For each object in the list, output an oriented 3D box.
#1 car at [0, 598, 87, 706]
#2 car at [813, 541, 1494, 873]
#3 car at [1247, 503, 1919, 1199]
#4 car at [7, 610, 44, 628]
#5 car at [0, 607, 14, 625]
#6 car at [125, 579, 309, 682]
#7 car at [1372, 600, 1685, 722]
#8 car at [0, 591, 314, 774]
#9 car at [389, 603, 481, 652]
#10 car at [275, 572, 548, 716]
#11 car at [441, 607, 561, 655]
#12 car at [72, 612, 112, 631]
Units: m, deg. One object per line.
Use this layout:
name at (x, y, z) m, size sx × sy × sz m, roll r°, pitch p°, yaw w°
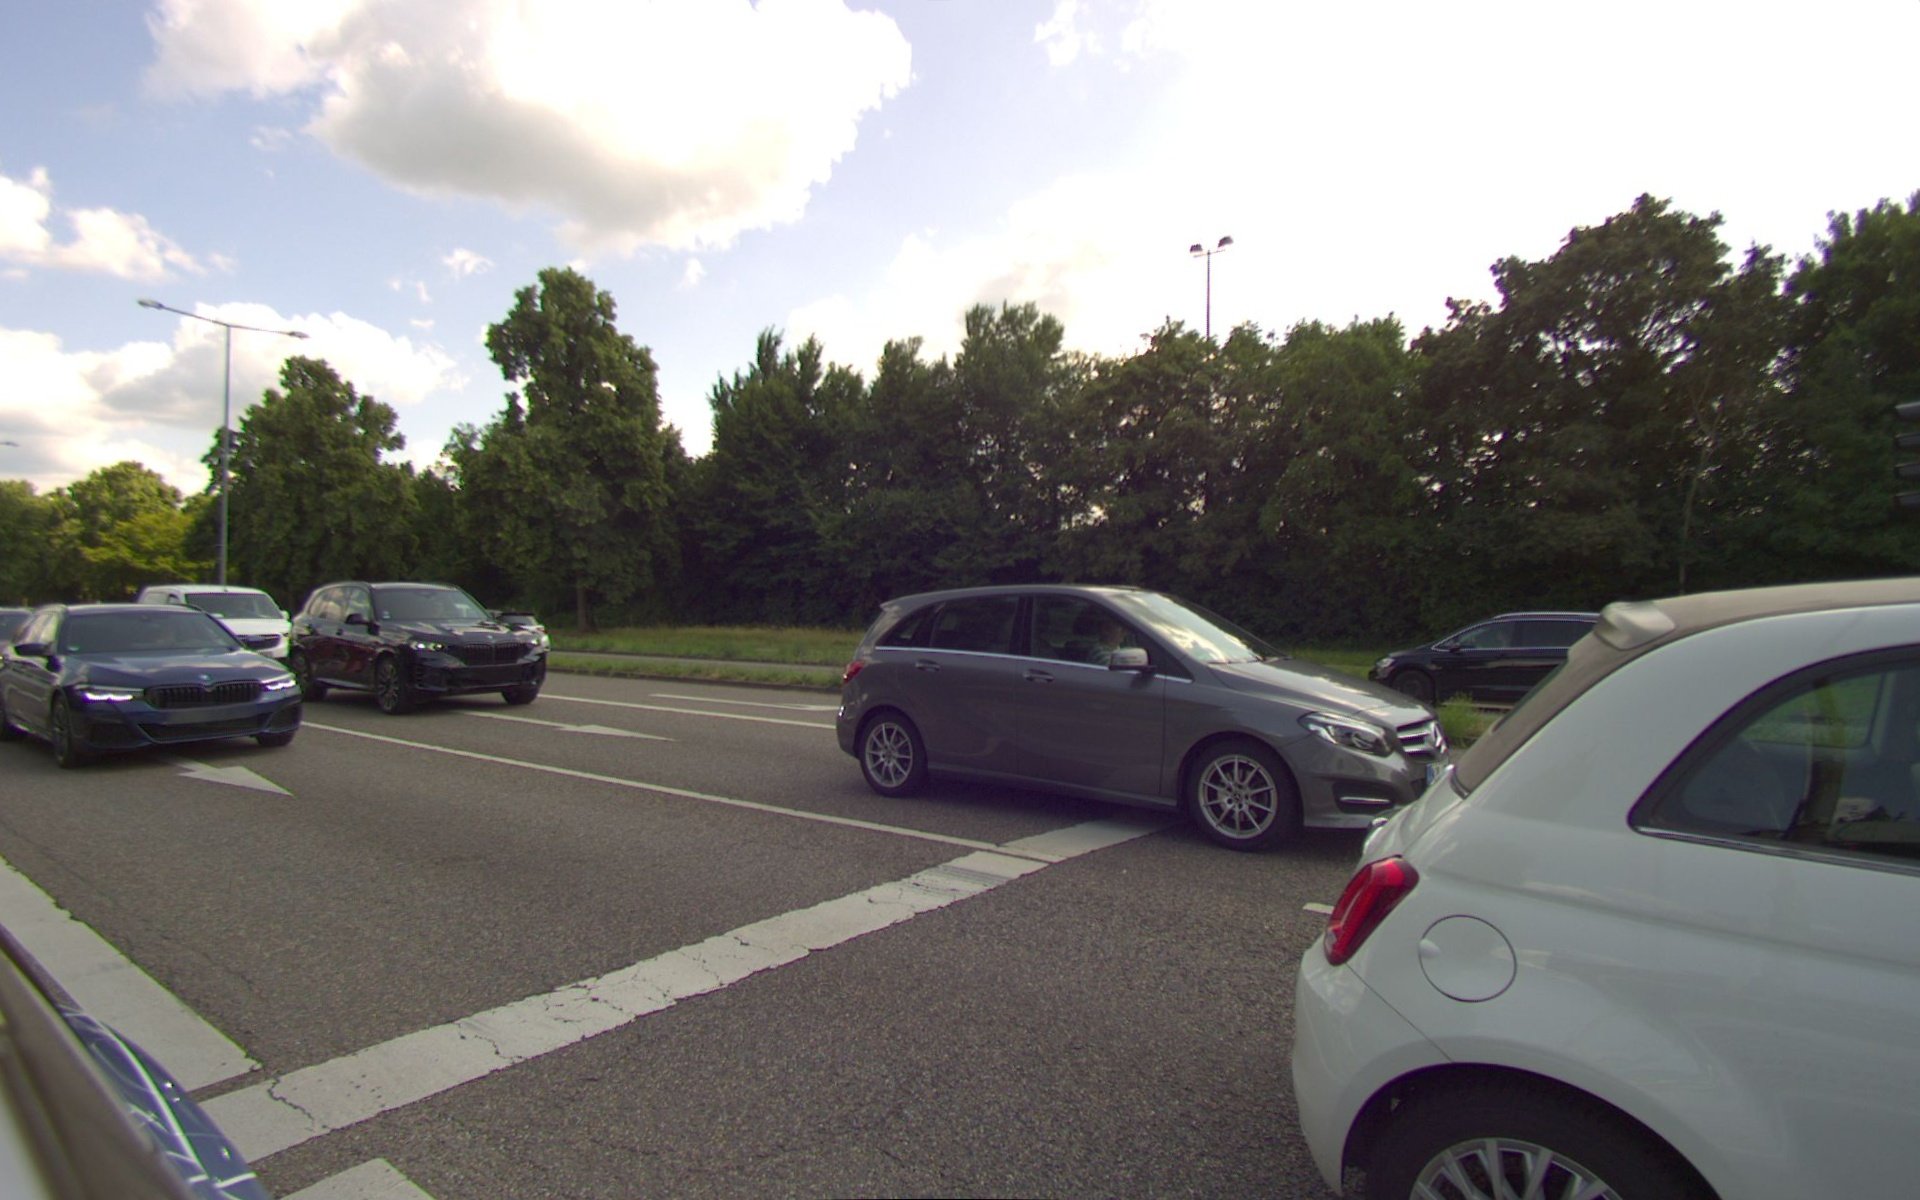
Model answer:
car at (-15.014, 0.729, 15.461) m, size 4.529 × 1.473 × 1.707 m, roll 0°, pitch 1°, yaw 38°
car at (1.106, 0.539, 6.997) m, size 4.354 × 1.631 × 1.682 m, roll -1°, pitch 0°, yaw 38°
car at (2.427, 0.612, 1.530) m, size 3.534 × 1.508 × 1.555 m, roll 0°, pitch 1°, yaw 37°
car at (-80.973, 1.645, 87.675) m, size 4.232 × 1.397 × 1.651 m, roll 0°, pitch -2°, yaw 38°
car at (-77.027, 1.249, 80.690) m, size 4.232 × 1.435 × 1.651 m, roll -1°, pitch -2°, yaw 38°
car at (-14.810, 0.531, 20.069) m, size 4.724 × 1.812 × 1.748 m, roll 0°, pitch 0°, yaw 38°
car at (9.251, 0.887, 16.646) m, size 4.304 × 1.755 × 1.655 m, roll 0°, pitch 0°, yaw 38°
car at (-8.733, 0.673, 10.636) m, size 4.866 × 1.508 × 1.779 m, roll 0°, pitch 1°, yaw 38°
car at (-20.893, 1.055, 40.223) m, size 4.248 × 1.807 × 1.655 m, roll 0°, pitch 0°, yaw 38°
car at (-7.947, 0.533, 14.484) m, size 4.543 × 1.759 × 1.795 m, roll 0°, pitch 0°, yaw 38°
car at (-13.676, 0.902, 30.107) m, size 3.690 × 1.318 × 1.735 m, roll 0°, pitch -2°, yaw 39°
car at (-62.920, 1.552, 73.344) m, size 3.652 × 1.381 × 1.448 m, roll 0°, pitch -2°, yaw 36°
